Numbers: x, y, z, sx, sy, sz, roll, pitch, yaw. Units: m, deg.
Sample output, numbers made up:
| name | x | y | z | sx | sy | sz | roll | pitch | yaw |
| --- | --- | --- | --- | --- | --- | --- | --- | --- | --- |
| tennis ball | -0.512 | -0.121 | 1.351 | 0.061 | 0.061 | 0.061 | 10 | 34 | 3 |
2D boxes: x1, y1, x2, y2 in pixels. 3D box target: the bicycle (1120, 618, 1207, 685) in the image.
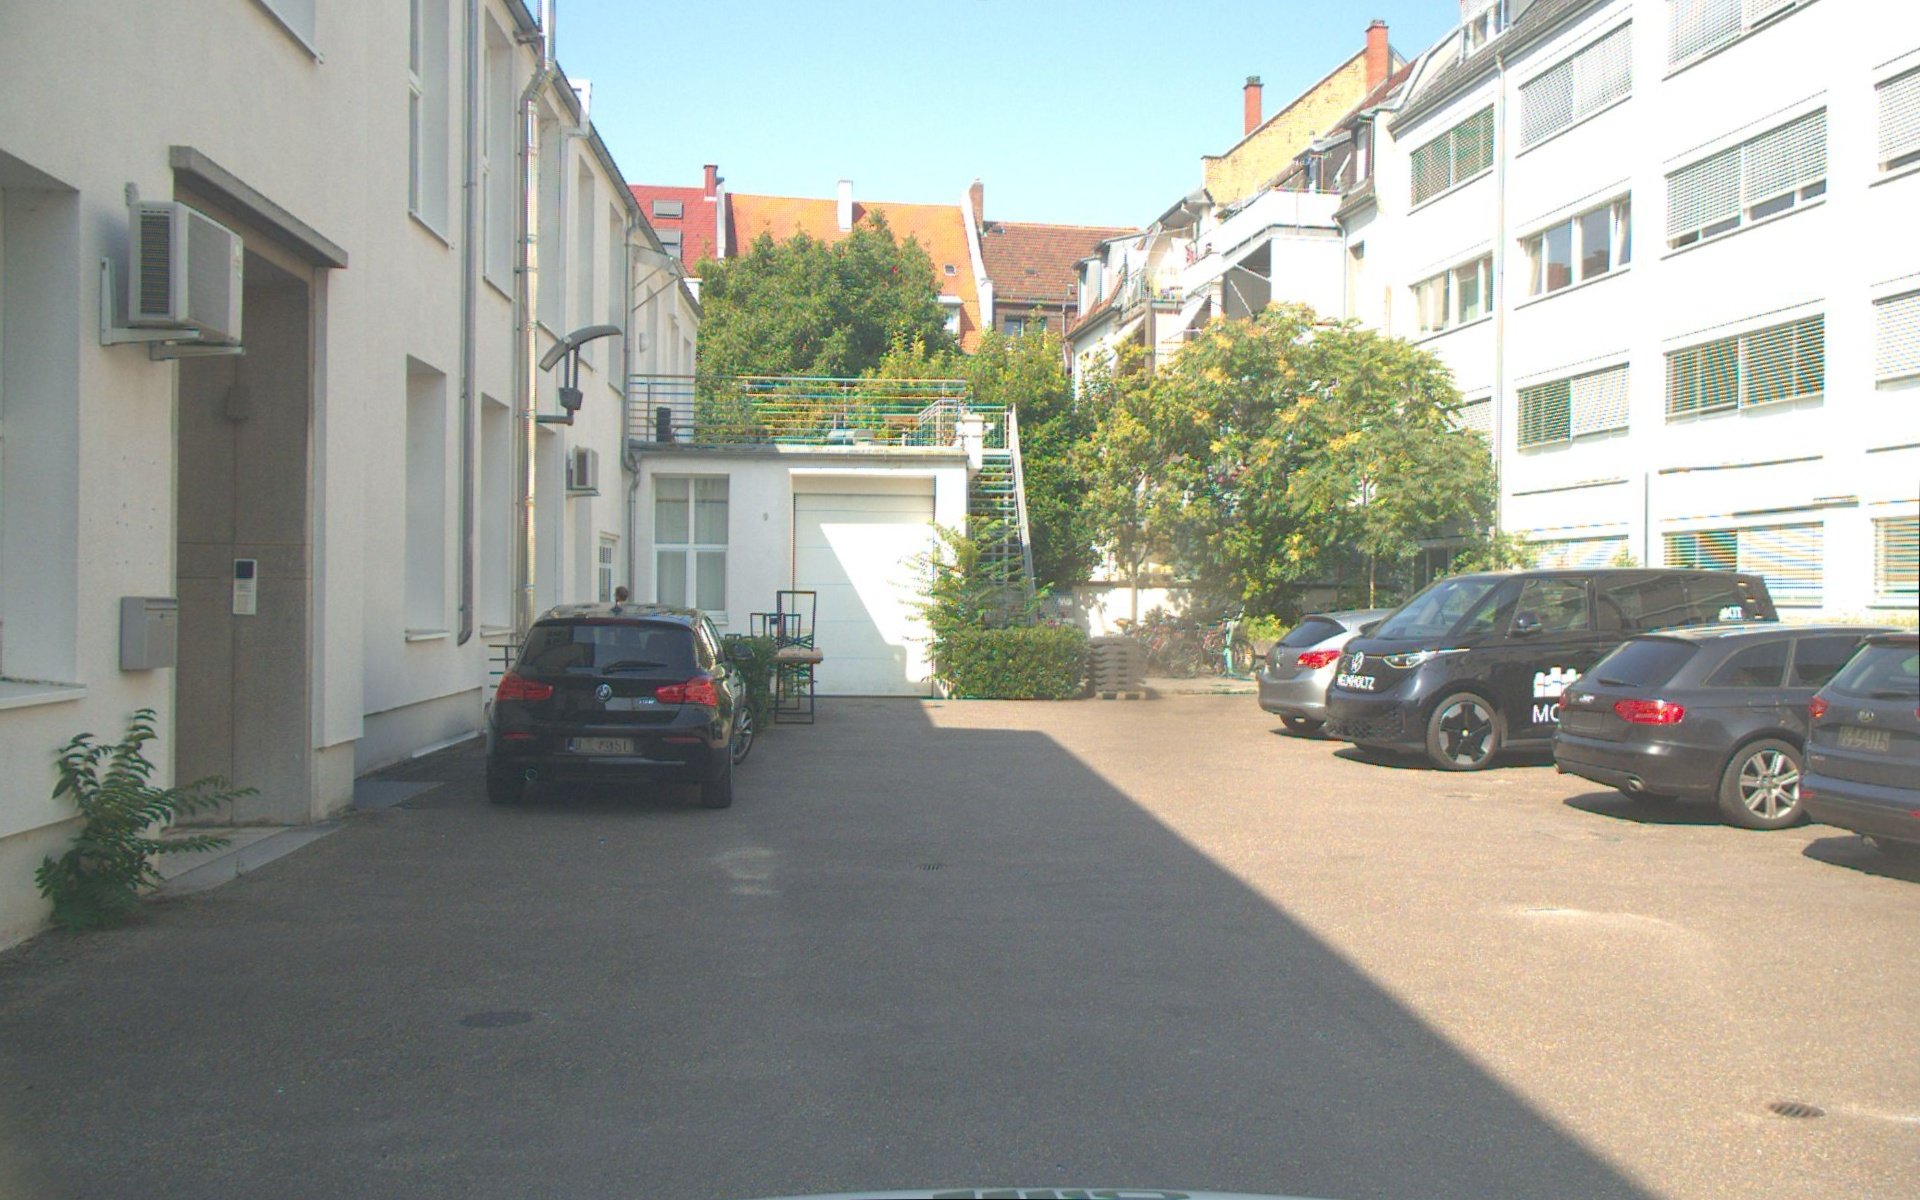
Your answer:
| name | x | y | z | sx | sy | sz | roll | pitch | yaw |
| --- | --- | --- | --- | --- | --- | --- | --- | --- | --- |
| bicycle | 3.783 | 0.949 | 30.757 | 1.590 | 1.235 | 0.327 | 0 | 0 | -2 |

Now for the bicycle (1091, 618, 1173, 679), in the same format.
| name | x | y | z | sx | sy | sz | roll | pitch | yaw |
| --- | --- | --- | --- | --- | --- | --- | --- | --- | --- |
| bicycle | 3.481 | 0.975 | 33.470 | 1.593 | 1.235 | 0.423 | 0 | 0 | -8 |

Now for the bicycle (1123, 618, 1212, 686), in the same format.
| name | x | y | z | sx | sy | sz | roll | pitch | yaw |
| --- | --- | --- | --- | --- | --- | --- | --- | --- | --- |
| bicycle | 3.781 | 0.942 | 30.140 | 1.590 | 1.235 | 0.327 | 0 | 0 | -2 |

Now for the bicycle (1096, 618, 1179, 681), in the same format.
| name | x | y | z | sx | sy | sz | roll | pitch | yaw |
| --- | --- | --- | --- | --- | --- | --- | --- | --- | --- |
| bicycle | 3.520 | 0.969 | 32.869 | 1.593 | 1.235 | 0.423 | 0 | 0 | -9 |

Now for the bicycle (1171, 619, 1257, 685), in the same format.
| name | x | y | z | sx | sy | sz | roll | pitch | yaw |
| --- | --- | --- | --- | --- | --- | --- | --- | --- | --- |
| bicycle | 4.780 | 0.975 | 31.170 | 1.588 | 1.235 | 0.327 | 0 | 0 | 11 |

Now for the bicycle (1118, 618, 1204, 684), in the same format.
| name | x | y | z | sx | sy | sz | roll | pitch | yaw |
| --- | --- | --- | --- | --- | --- | --- | --- | --- | --- |
| bicycle | 3.792 | 0.954 | 31.209 | 1.588 | 1.235 | 0.327 | 0 | 0 | 7 |

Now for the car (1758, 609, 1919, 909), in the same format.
| name | x | y | z | sx | sy | sz | roll | pitch | yaw |
| --- | --- | --- | --- | --- | --- | --- | --- | --- | --- |
| car | 7.005 | 0.907 | 9.716 | 3.790 | 1.617 | 1.876 | 1 | -1 | -9 |

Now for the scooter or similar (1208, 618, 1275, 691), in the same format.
| name | x | y | z | sx | sy | sz | roll | pitch | yaw |
| --- | --- | --- | --- | --- | --- | --- | --- | --- | --- |
| scooter or similar | 5.098 | 0.974 | 29.977 | 0.375 | 1.283 | 1.332 | 0 | 0 | -35 |

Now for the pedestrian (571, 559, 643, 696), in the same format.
| name | x | y | z | sx | sy | sz | roll | pitch | yaw |
| --- | --- | --- | --- | --- | --- | --- | --- | --- | --- |
| pedestrian | -5.412 | 0.424 | 25.394 | 0.895 | 2.049 | 0.934 | 1 | -1 | -3 |

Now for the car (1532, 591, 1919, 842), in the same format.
| name | x | y | z | sx | sy | sz | roll | pitch | yaw |
| --- | --- | --- | --- | --- | --- | --- | --- | --- | --- |
| car | 6.659 | 0.852 | 12.518 | 4.038 | 1.721 | 1.769 | 1 | -1 | -6 |

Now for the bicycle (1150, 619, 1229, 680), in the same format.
| name | x | y | z | sx | sy | sz | roll | pitch | yaw |
| --- | --- | --- | --- | --- | --- | --- | --- | --- | --- |
| bicycle | 4.663 | 1.002 | 33.628 | 1.588 | 1.235 | 0.424 | 0 | 0 | 9 |

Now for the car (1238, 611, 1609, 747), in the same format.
| name | x | y | z | sx | sy | sz | roll | pitch | yaw |
| --- | --- | --- | --- | --- | --- | --- | --- | --- | --- |
| car | 5.426 | 0.902 | 19.538 | 3.864 | 1.508 | 1.769 | 1 | -1 | -13 |

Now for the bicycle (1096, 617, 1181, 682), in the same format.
| name | x | y | z | sx | sy | sz | roll | pitch | yaw |
| --- | --- | --- | --- | --- | --- | --- | --- | --- | --- |
| bicycle | 3.473 | 0.960 | 32.231 | 1.591 | 1.235 | 0.424 | 0 | 0 | -4 |

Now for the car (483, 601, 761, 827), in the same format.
| name | x | y | z | sx | sy | sz | roll | pitch | yaw |
| --- | --- | --- | --- | --- | --- | --- | --- | --- | --- |
| car | -2.488 | 0.786 | 13.009 | 1.655 | 1.484 | 3.919 | 1 | -1 | -5 |

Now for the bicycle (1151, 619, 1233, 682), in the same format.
| name | x | y | z | sx | sy | sz | roll | pitch | yaw |
| --- | --- | --- | --- | --- | --- | --- | --- | --- | --- |
| bicycle | 4.581 | 0.988 | 32.596 | 1.588 | 1.235 | 0.424 | 0 | 0 | 9 |

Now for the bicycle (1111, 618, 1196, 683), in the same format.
| name | x | y | z | sx | sy | sz | roll | pitch | yaw |
| --- | --- | --- | --- | --- | --- | --- | --- | --- | --- |
| bicycle | 3.695 | 0.957 | 31.567 | 1.588 | 1.235 | 0.327 | 0 | 0 | 10 |

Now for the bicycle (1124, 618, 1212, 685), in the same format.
| name | x | y | z | sx | sy | sz | roll | pitch | yaw |
| --- | --- | --- | --- | --- | --- | --- | --- | --- | --- |
| bicycle | 3.828 | 0.946 | 30.465 | 1.590 | 1.235 | 0.327 | 0 | 0 | -2 |

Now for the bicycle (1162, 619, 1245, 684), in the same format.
| name | x | y | z | sx | sy | sz | roll | pitch | yaw |
| --- | --- | --- | --- | --- | --- | --- | --- | --- | --- |
| bicycle | 4.712 | 0.984 | 32.027 | 1.588 | 1.235 | 0.424 | 0 | 0 | 10 |

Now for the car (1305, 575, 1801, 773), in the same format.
| name | x | y | z | sx | sy | sz | roll | pitch | yaw |
| --- | --- | --- | --- | --- | --- | --- | --- | --- | --- |
| car | 5.917 | 0.716 | 16.682 | 4.422 | 1.826 | 1.877 | 1 | -1 | -13 |
